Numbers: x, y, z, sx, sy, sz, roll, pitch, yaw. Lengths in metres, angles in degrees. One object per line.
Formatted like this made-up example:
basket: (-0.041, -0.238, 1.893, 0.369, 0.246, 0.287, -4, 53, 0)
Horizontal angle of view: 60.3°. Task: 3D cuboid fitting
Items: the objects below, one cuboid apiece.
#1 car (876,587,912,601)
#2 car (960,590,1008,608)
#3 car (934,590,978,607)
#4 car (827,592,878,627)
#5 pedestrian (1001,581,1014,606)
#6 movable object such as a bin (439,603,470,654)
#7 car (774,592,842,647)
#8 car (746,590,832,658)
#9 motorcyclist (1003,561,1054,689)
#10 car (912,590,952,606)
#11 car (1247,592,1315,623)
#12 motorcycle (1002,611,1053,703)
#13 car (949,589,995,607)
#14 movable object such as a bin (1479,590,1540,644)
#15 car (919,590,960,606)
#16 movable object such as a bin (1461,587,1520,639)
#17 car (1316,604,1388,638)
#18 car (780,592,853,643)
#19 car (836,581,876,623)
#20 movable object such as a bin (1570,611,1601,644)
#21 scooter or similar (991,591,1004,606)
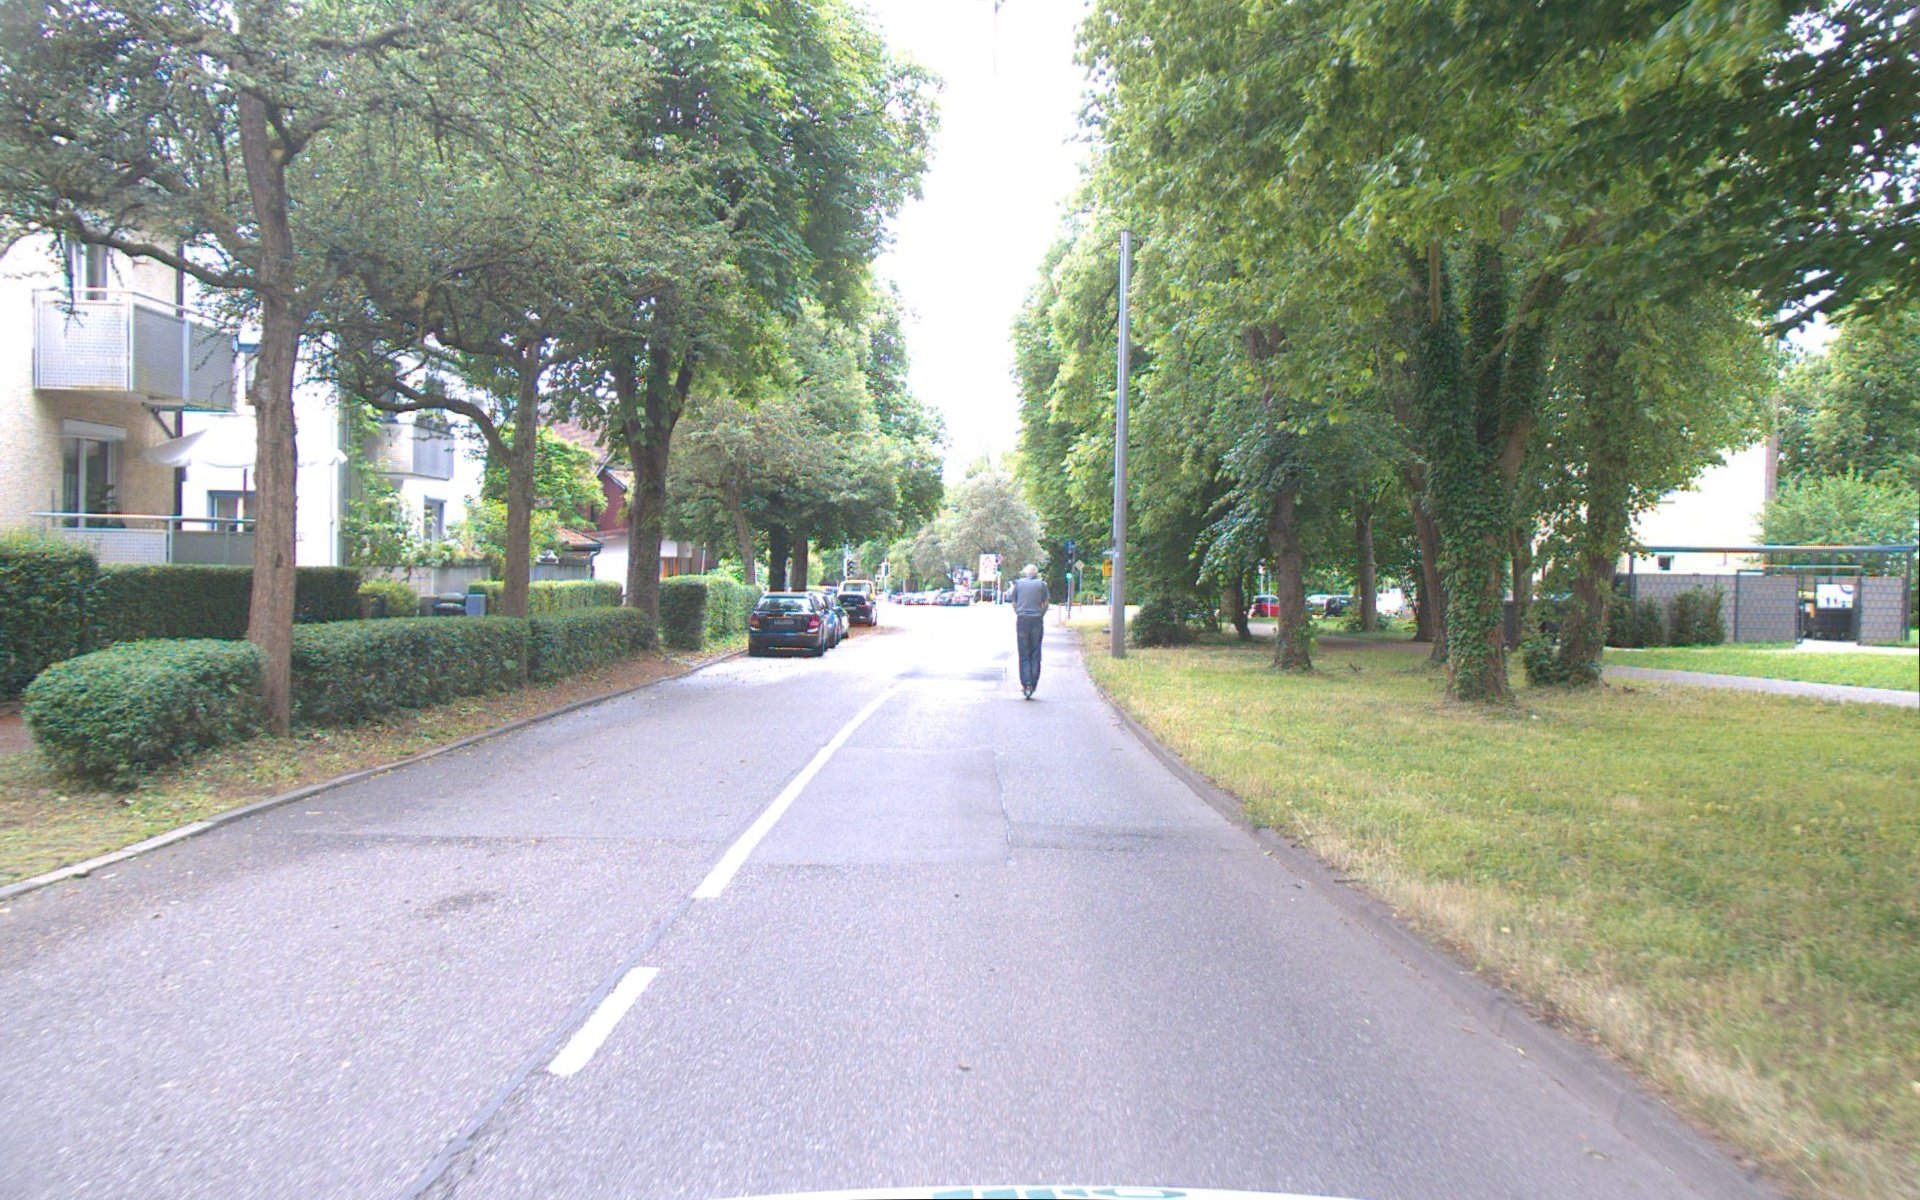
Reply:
car: (-7.144, -0.675, 178.456, 3.907, 1.537, 1.799, 0, 0, -3)
car: (1.960, -0.086, 137.388, 3.907, 1.537, 1.799, 0, 0, -3)
car: (-0.384, -0.164, 151.341, 3.907, 1.537, 1.799, 0, 0, -3)
car: (-4.534, 0.416, 70.181, 1.853, 1.435, 4.554, 0, 0, 0)
pedestrian: (3.390, -0.464, 118.432, 0.717, 1.792, 0.662, 0, 0, 19)
movable object such as a bin: (-9.327, 0.529, 30.515, 0.447, 0.931, 0.508, 0, 0, -7)
car: (-4.031, 0.494, 44.203, 1.631, 1.416, 3.705, 0, 0, -2)
car: (-3.989, 0.524, 39.111, 1.758, 1.498, 4.416, 0, 0, -3)
motorcyclist: (0.978, 0.358, 23.742, 0.659, 1.792, 0.639, 2, 0, 1)
car: (-2.768, -0.226, 163.934, 3.907, 1.537, 1.799, 0, 0, -3)
car: (19.378, 0.445, 99.828, 3.902, 1.584, 1.802, 2, 3, 12)
motorcycle: (0.960, 0.792, 23.612, 0.659, 1.239, 1.274, 2, 0, 1)
car: (1.070, -0.152, 144.516, 3.907, 1.537, 1.799, 0, 0, -3)
movable object such as a bin: (15.943, 0.473, 47.993, 1.300, 1.527, 1.314, 0, 0, -3)
car: (-2.037, -0.227, 162.044, 3.907, 1.537, 1.799, 0, 0, -3)
movable object such as a bin: (15.870, 0.378, 49.492, 1.300, 1.527, 1.314, 0, 0, -3)
car: (23.425, 1.255, 98.833, 3.908, 1.756, 1.799, 3, 4, 25)
car: (-4.286, 0.496, 49.957, 1.757, 1.435, 4.645, 0, 0, 1)
car: (-5.140, 0.085, 81.051, 1.821, 1.998, 4.499, 0, 0, -6)
movable object such as a bin: (17.413, 0.769, 46.059, 0.586, 0.893, 0.668, 0, 0, -3)
scooter or similar: (2.707, -0.097, 118.718, 0.695, 1.067, 0.787, 0, 0, 19)
